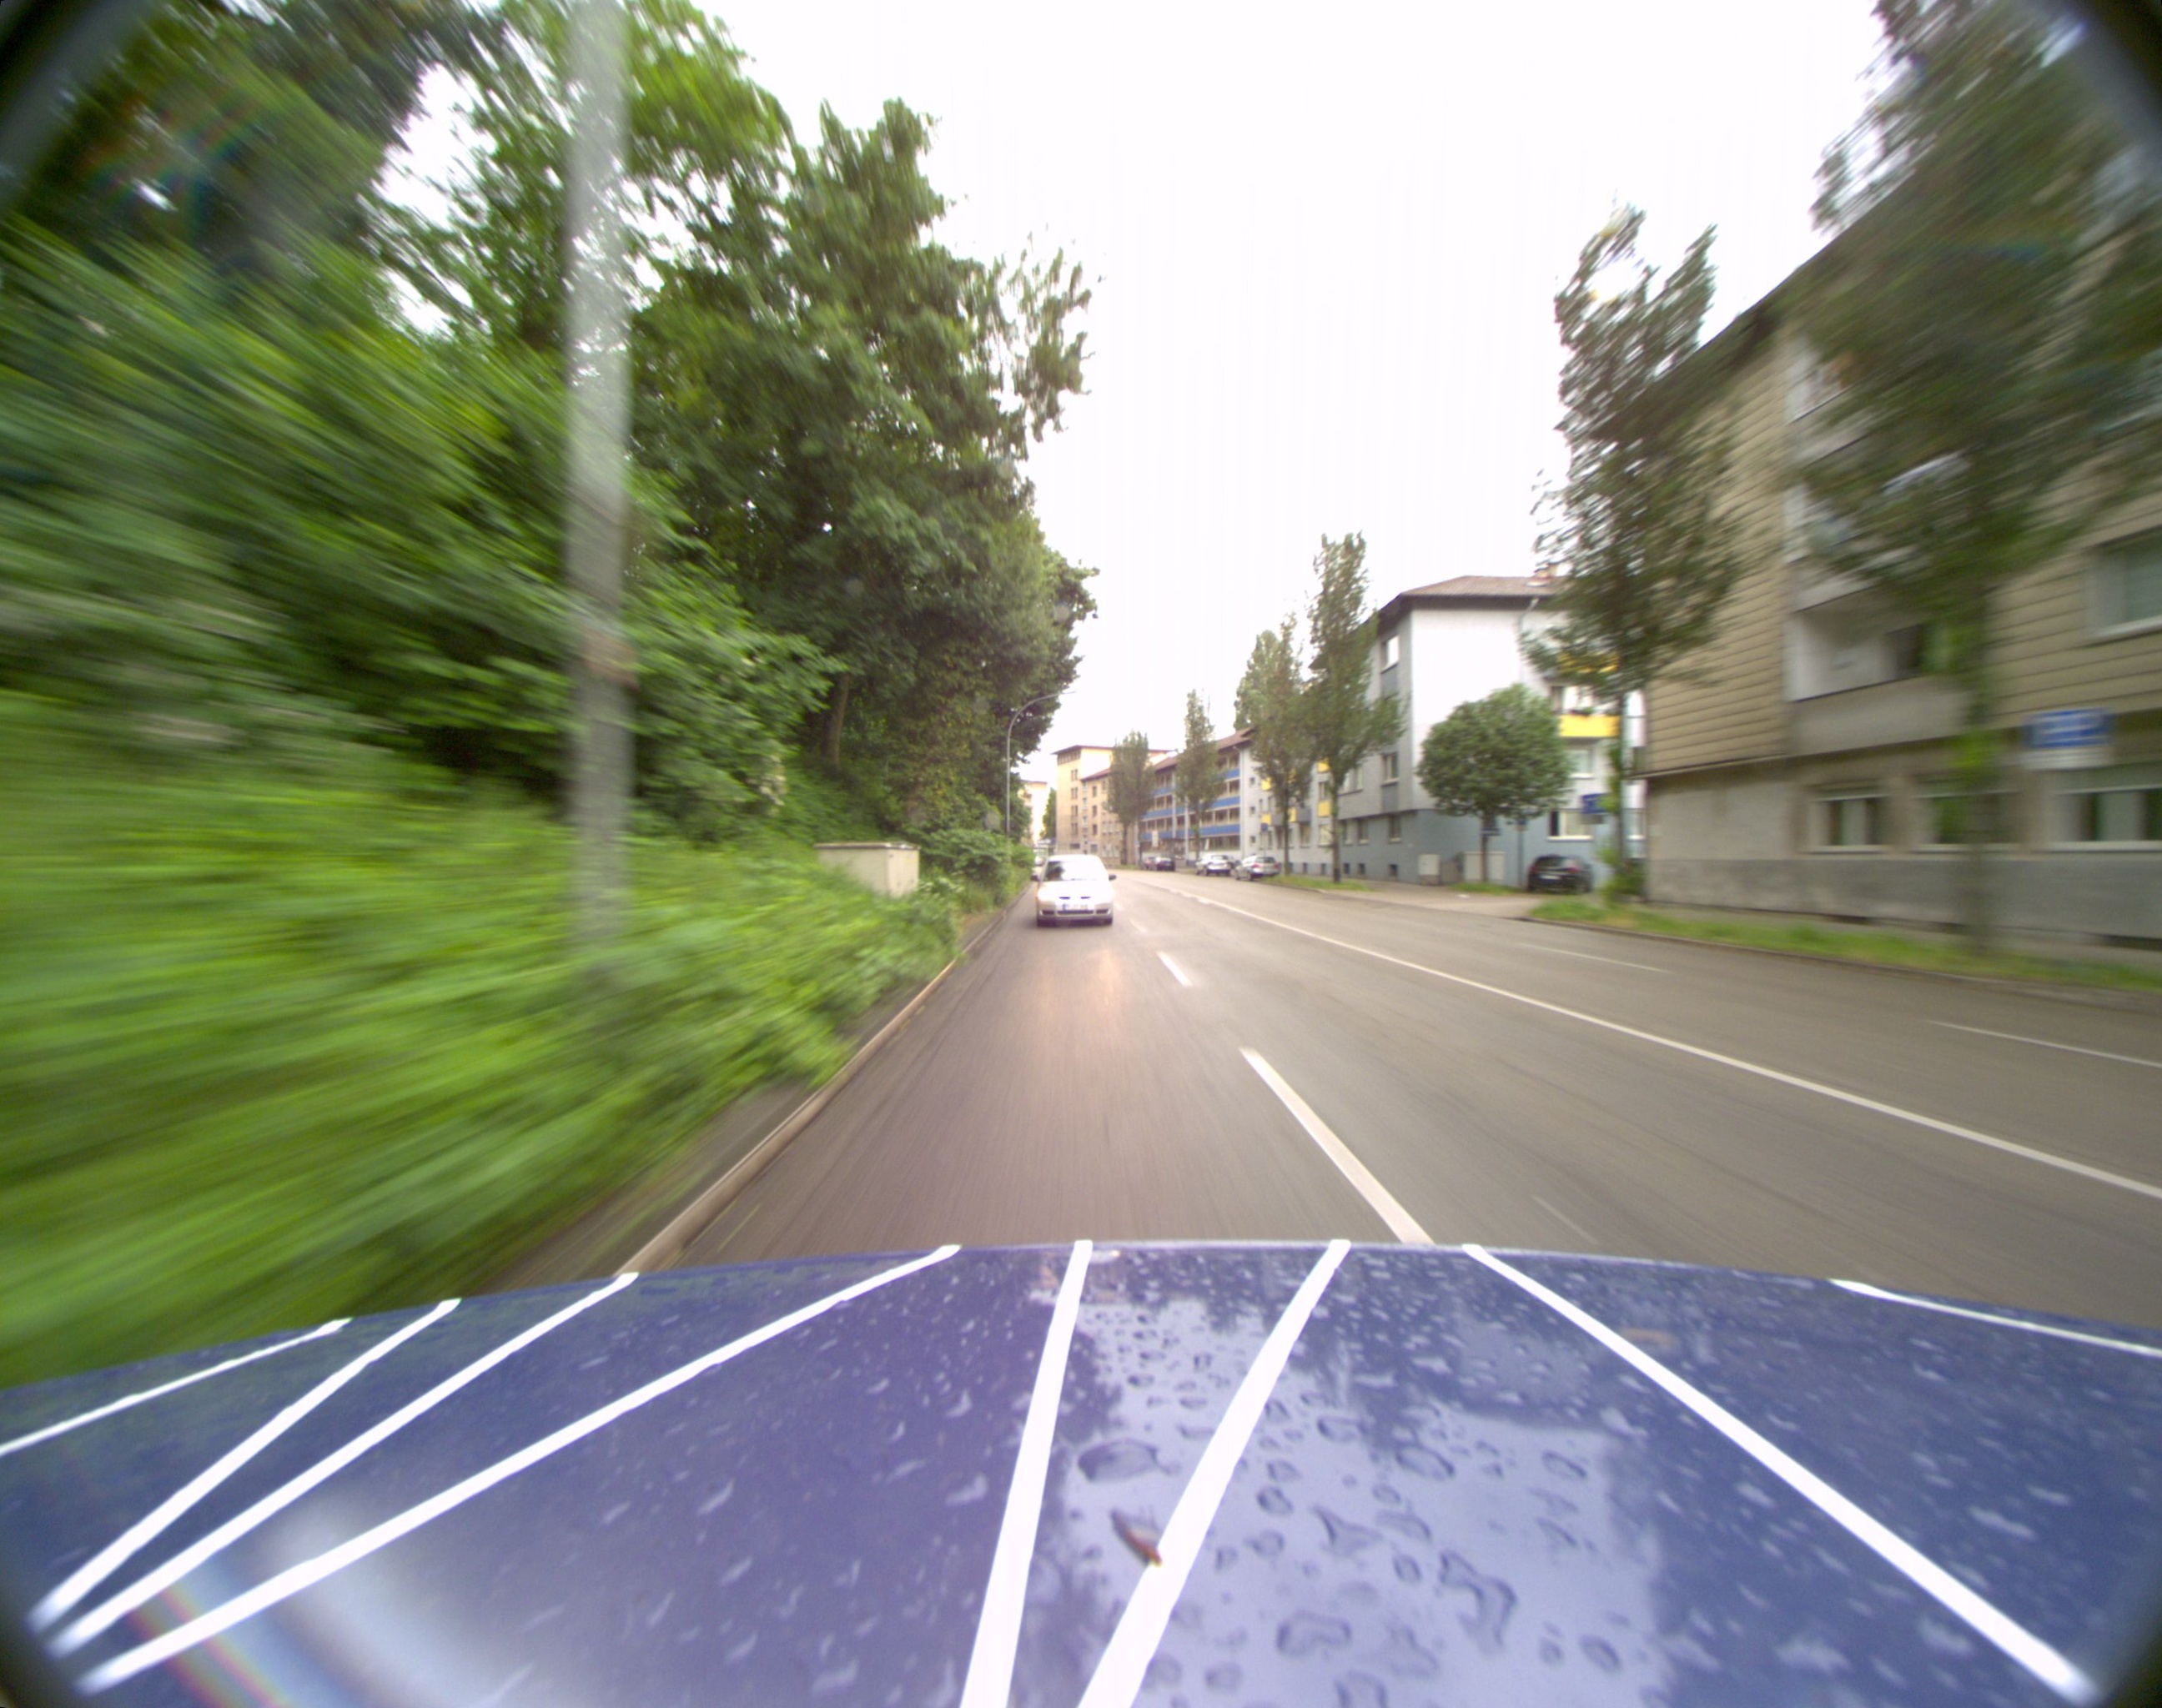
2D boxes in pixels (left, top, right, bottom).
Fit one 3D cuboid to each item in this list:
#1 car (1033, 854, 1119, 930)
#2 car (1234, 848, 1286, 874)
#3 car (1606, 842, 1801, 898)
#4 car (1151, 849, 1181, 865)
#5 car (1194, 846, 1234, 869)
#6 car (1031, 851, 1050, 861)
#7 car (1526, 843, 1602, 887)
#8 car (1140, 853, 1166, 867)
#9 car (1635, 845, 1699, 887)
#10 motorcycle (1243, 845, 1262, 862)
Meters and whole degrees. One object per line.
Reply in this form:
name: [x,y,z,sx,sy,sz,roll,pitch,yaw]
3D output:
car: [-0.134,0.800,17.940,1.752,1.510,3.999,-2,0,-1]
car: [10.434,0.393,44.620,1.729,1.444,4.203,0,1,-5]
car: [18.108,0.459,22.239,4.160,1.569,1.926,0,0,-1]
car: [8.236,0.238,73.926,1.826,1.431,4.889,2,0,-6]
car: [9.742,0.217,55.833,1.769,1.594,4.531,1,0,-5]
car: [-5.936,0.287,111.905,1.759,1.417,4.530,0,0,-17]
car: [18.405,0.374,28.886,1.708,1.486,4.008,3,2,43]
car: [7.514,0.587,79.505,1.785,1.395,4.085,2,0,-7]
car: [22.139,0.405,28.780,1.789,1.485,4.008,1,1,37]
motorcycle: [15.225,-0.057,67.664,0.677,1.406,2.233,-3,1,-13]
